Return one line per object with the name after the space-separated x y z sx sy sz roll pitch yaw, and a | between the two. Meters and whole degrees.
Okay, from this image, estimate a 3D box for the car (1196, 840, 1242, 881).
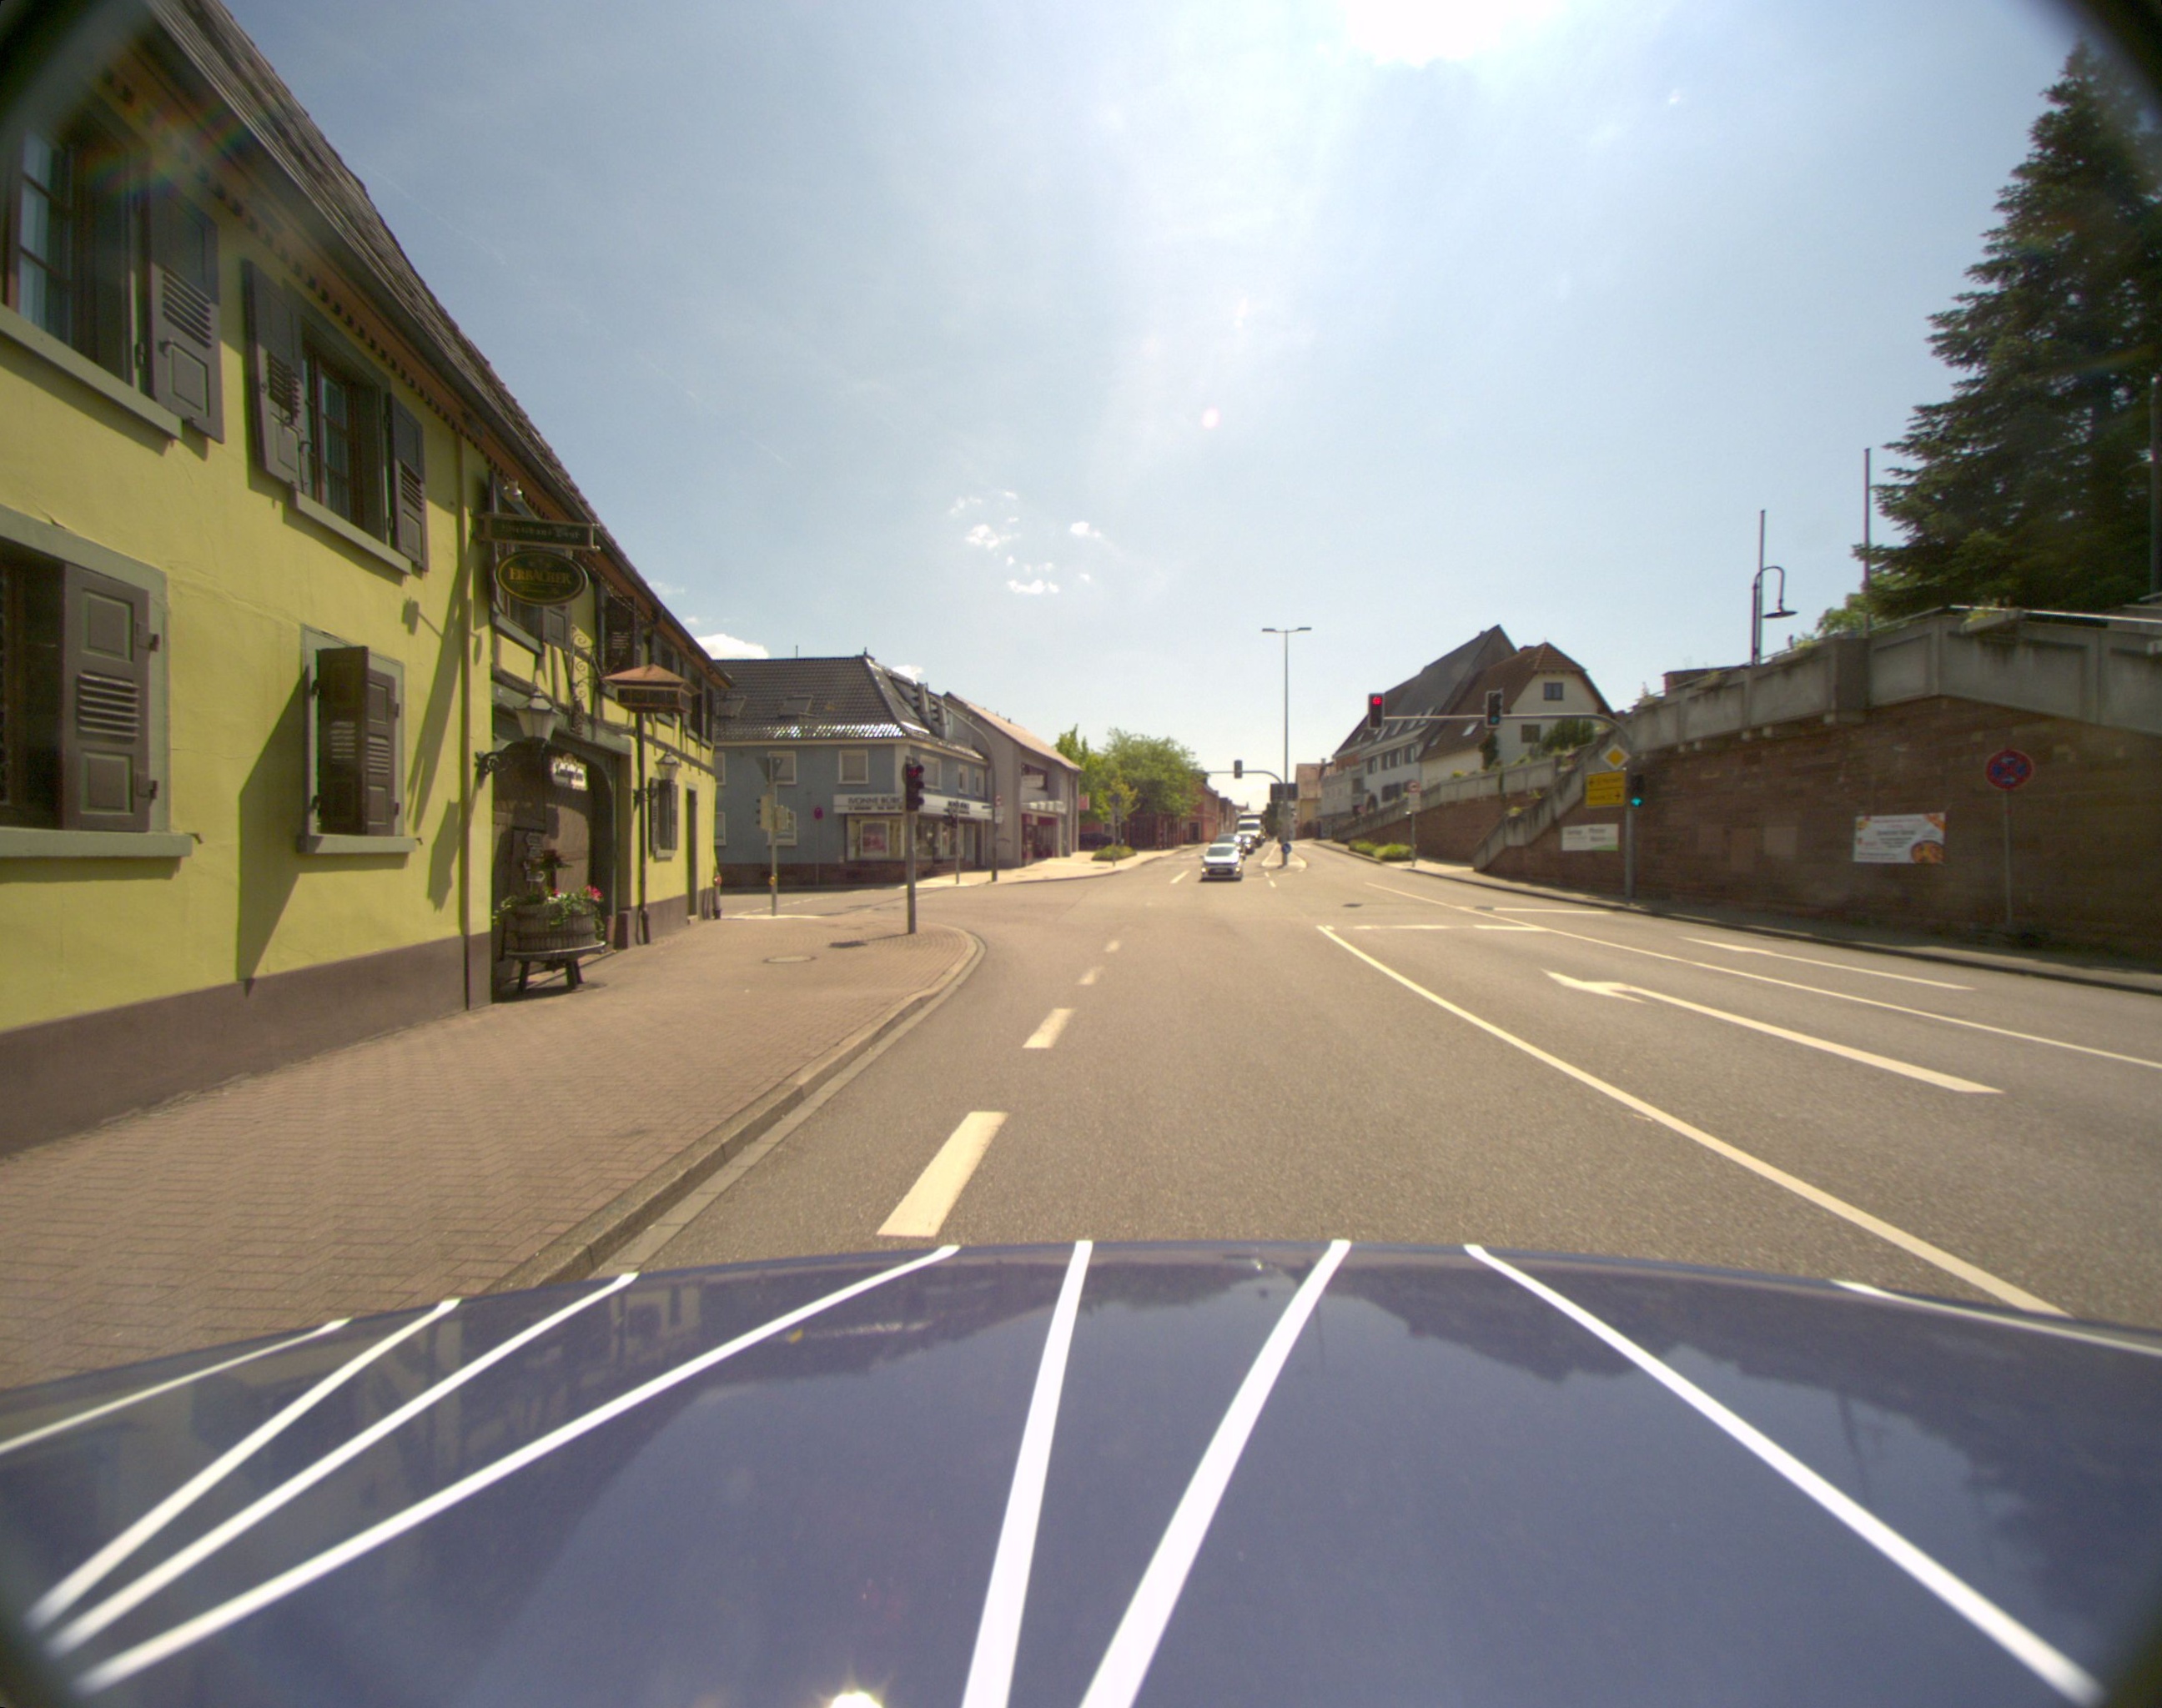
5.847 0.209 32.024 1.723 1.542 4.306 -2 1 11 | car

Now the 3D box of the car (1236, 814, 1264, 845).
14.551 -2.085 65.309 2.172 2.549 4.829 0 1 15 | car

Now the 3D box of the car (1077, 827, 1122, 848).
1.626 -1.429 66.255 3.758 1.701 1.725 -2 2 8 | car

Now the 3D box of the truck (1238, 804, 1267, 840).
17.533 -3.192 77.808 2.845 3.550 5.473 0 1 12 | truck

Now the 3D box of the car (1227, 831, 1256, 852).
11.521 -0.911 54.680 1.927 1.358 4.306 -2 1 11 | car

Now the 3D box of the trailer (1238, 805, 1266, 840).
18.930 -3.340 84.243 2.835 3.550 10.974 0 1 12 | trailer

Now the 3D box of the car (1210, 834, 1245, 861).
9.088 -0.458 46.944 1.722 1.542 4.307 -2 1 15 | car
